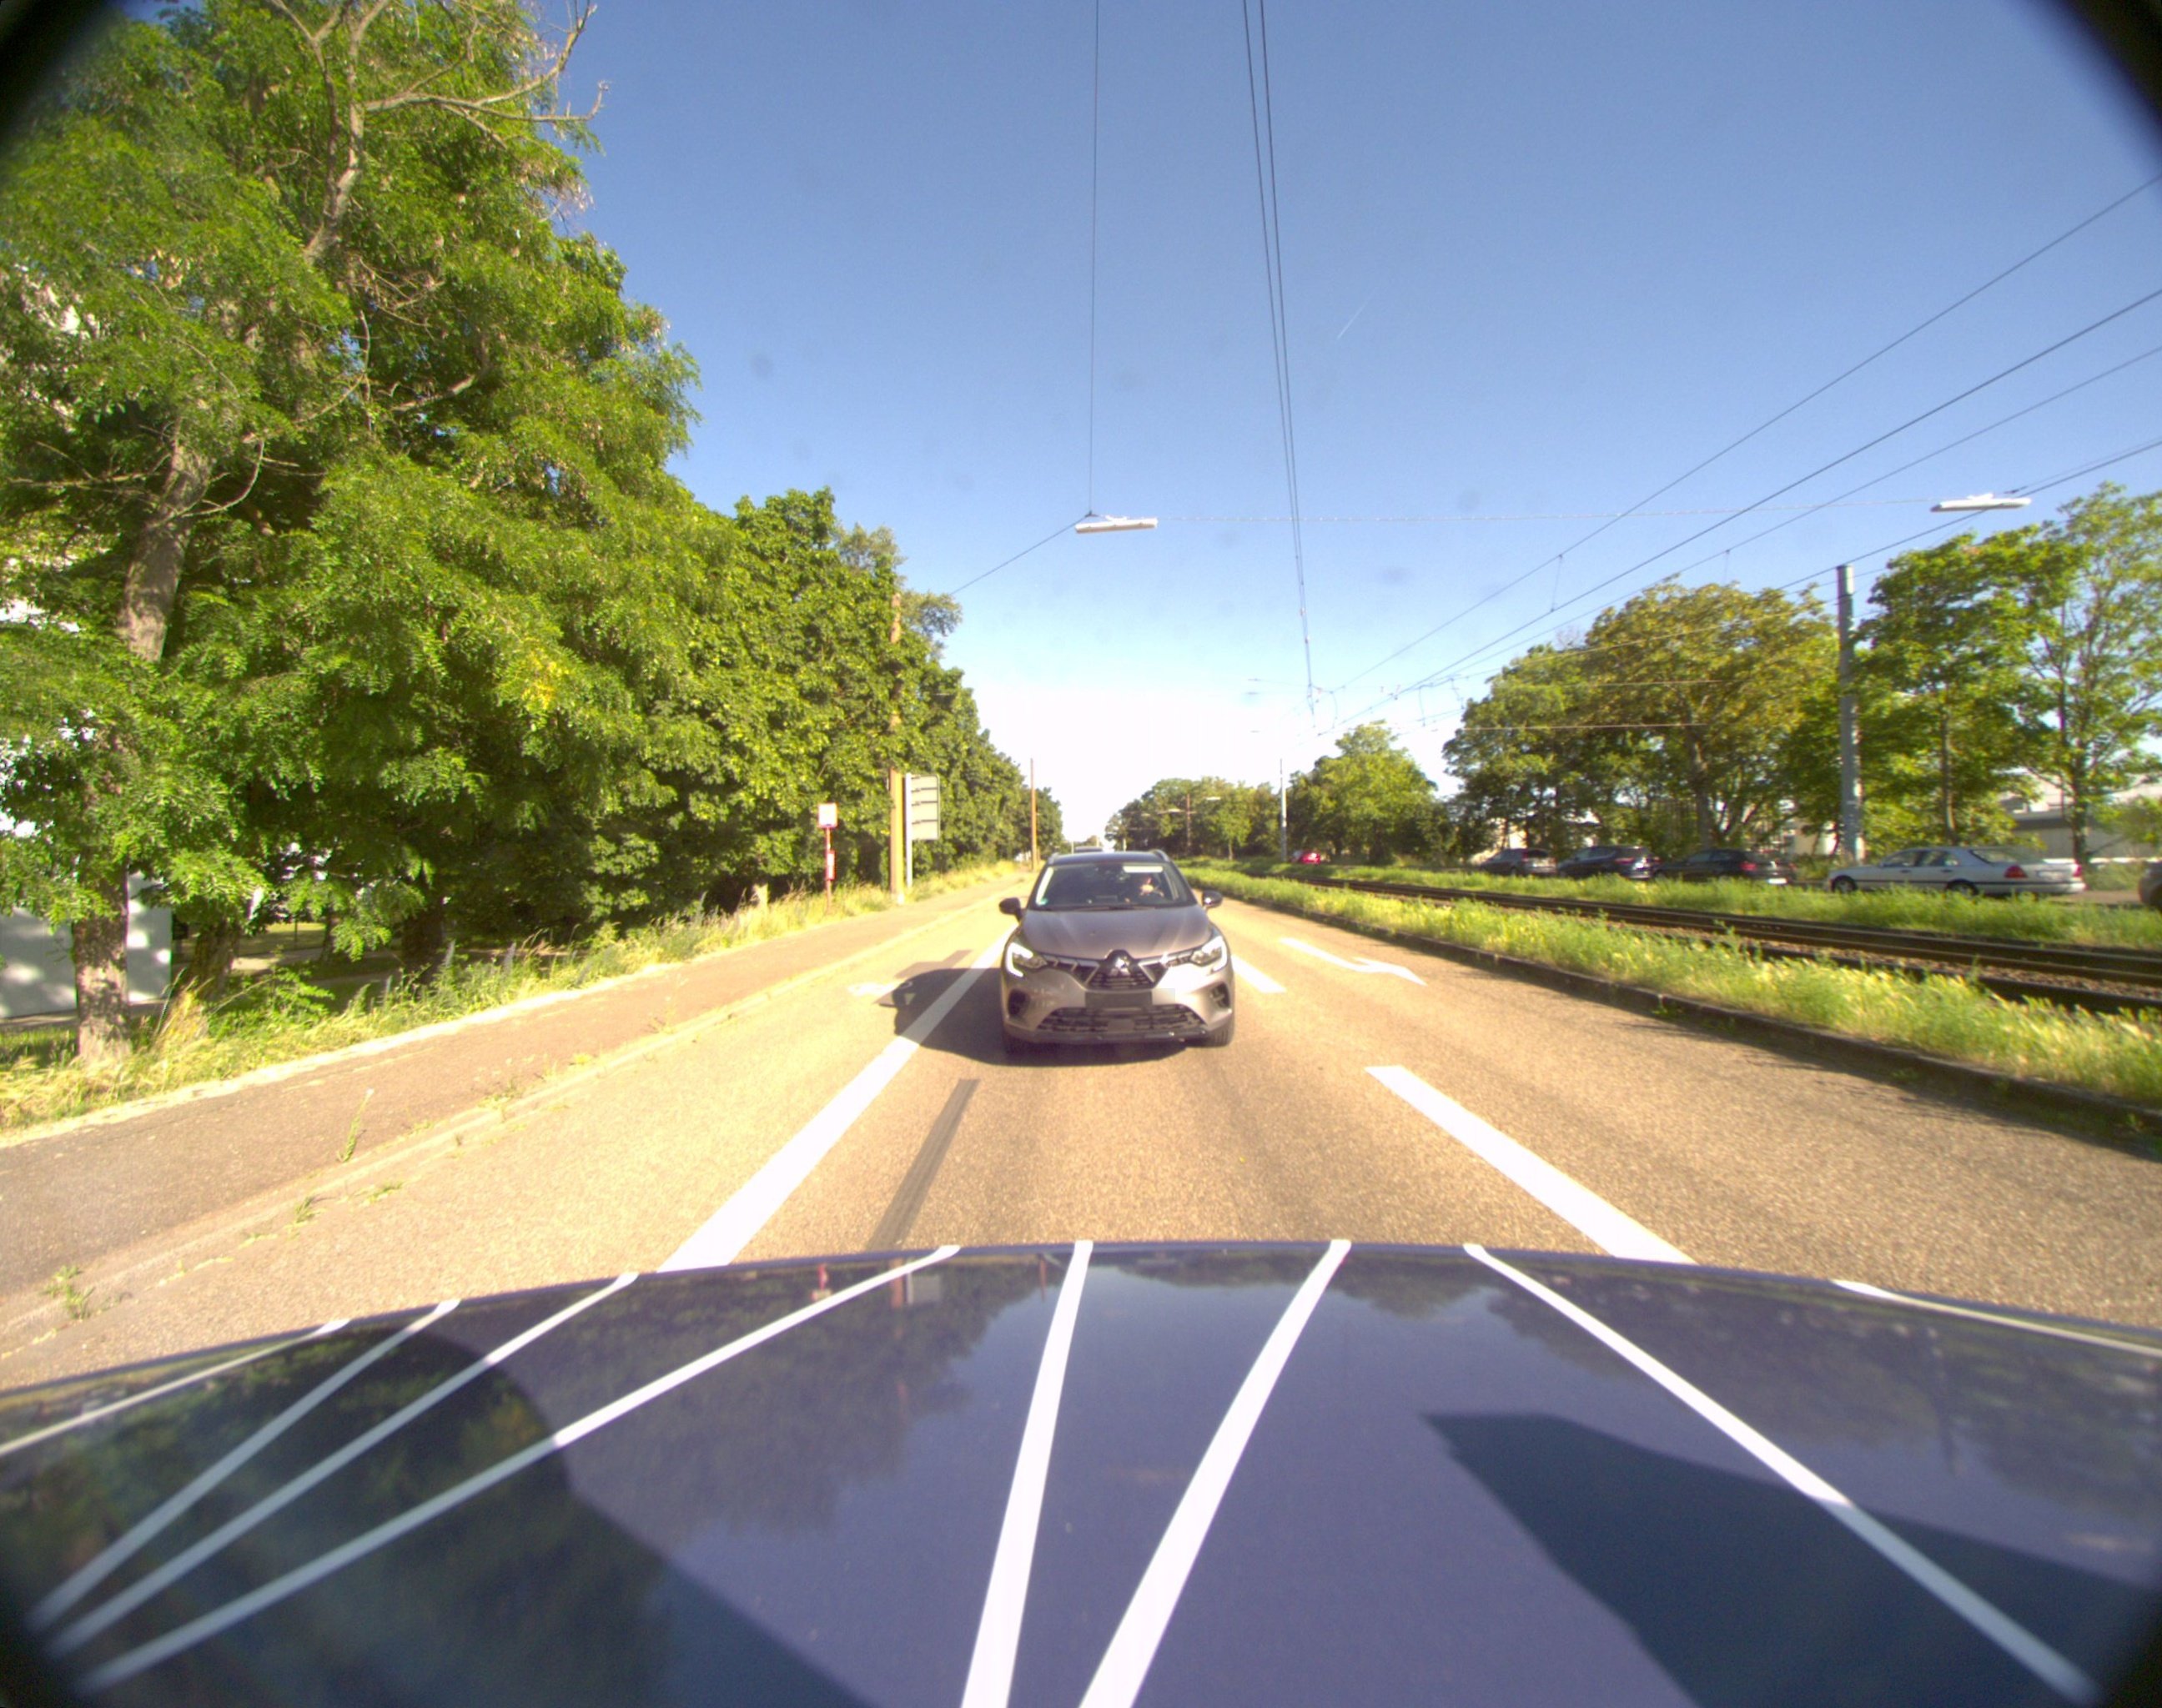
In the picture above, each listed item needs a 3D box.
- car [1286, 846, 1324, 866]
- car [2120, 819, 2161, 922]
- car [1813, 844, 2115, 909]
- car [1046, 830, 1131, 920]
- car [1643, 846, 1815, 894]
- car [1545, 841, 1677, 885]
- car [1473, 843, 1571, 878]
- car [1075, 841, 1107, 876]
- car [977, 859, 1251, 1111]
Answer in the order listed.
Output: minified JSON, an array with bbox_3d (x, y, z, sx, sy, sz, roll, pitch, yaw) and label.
[{"bbox_3d":[21.003,0.192,71.467,2.321,1.723,4.798,-2,0,3],"label":"car"},{"bbox_3d":[21.247,0.271,12.396,2.207,1.923,4.685,-2,0,2],"label":"car"},{"bbox_3d":[21.547,0.507,18.934,2.130,1.372,4.616,-2,0,-1],"label":"car"},{"bbox_3d":[0.210,0.519,20.468,1.998,2.113,4.000,-2,0,1],"label":"car"},{"bbox_3d":[21.347,0.491,25.328,1.960,1.417,4.488,-2,0,1],"label":"car"},{"bbox_3d":[21.309,0.345,30.825,2.130,1.578,4.616,-2,0,1],"label":"car"},{"bbox_3d":[21.567,0.330,37.408,2.130,1.554,4.560,-2,0,0],"label":"car"},{"bbox_3d":[0.611,0.338,51.002,1.999,2.198,4.786,-1,-1,-1],"label":"car"},{"bbox_3d":[0.182,0.883,7.318,1.796,1.583,4.529,-1,0,-1],"label":"car"}]
